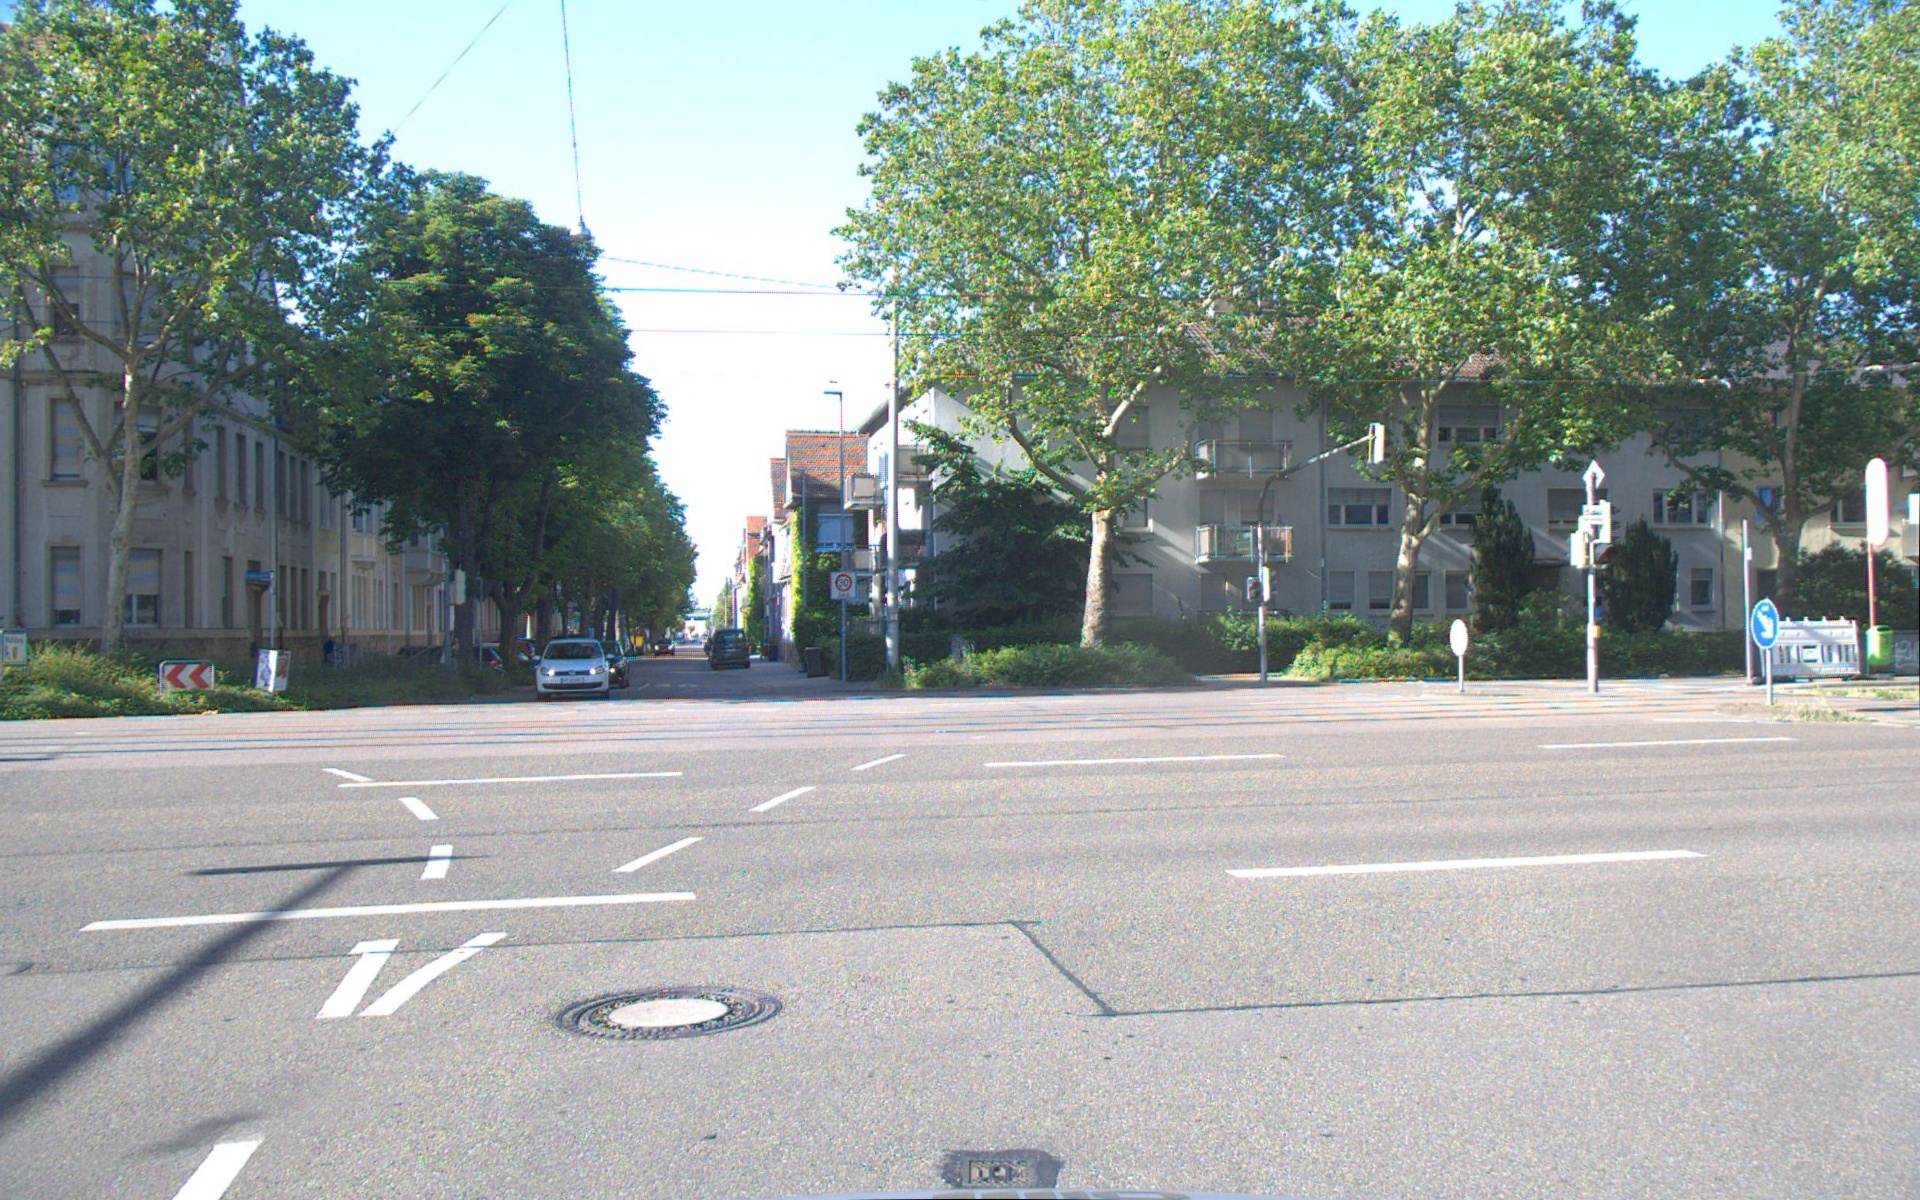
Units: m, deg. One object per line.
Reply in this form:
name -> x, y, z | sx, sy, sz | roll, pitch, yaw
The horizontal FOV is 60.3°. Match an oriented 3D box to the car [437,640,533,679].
car -> -18.678, 2.353, 65.118 | 3.368, 1.477, 1.700 | 0, -2, -7

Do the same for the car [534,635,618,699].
car -> -9.532, 1.677, 41.280 | 1.773, 1.484, 3.990 | -1, -2, -10

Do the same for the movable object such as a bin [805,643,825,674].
movable object such as a bin -> -5.284, 2.140, 60.349 | 0.586, 1.062, 0.705 | -4, -1, -12

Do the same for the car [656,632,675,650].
car -> -25.989, 3.627, 146.090 | 1.611, 1.535, 3.693 | -2, -1, -10

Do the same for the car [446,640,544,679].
car -> -20.354, 2.591, 72.550 | 3.912, 1.534, 1.719 | -2, -1, -8

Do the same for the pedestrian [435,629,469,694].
pedestrian -> -13.727, 1.653, 44.691 | 0.679, 1.711, 0.680 | -1, -1, 1

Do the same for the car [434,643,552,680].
car -> -17.798, 2.336, 63.212 | 4.135, 1.372, 1.699 | 0, -2, -10

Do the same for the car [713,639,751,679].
car -> -11.510, 2.940, 83.210 | 1.830, 1.950, 4.772 | 0, -1, -9

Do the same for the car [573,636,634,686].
car -> -11.316, 1.910, 52.678 | 1.629, 1.490, 3.801 | -1, -1, -8

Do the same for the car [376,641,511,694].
car -> -16.162, 2.101, 51.923 | 3.811, 1.502, 1.611 | -2, -1, -10

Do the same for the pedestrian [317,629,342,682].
pedestrian -> -20.162, 1.768, 52.873 | 0.450, 1.687, 0.894 | -1, -2, -1

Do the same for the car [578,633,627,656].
car -> -29.586, 3.670, 137.032 | 3.918, 1.792, 1.792 | 2, -2, -13
